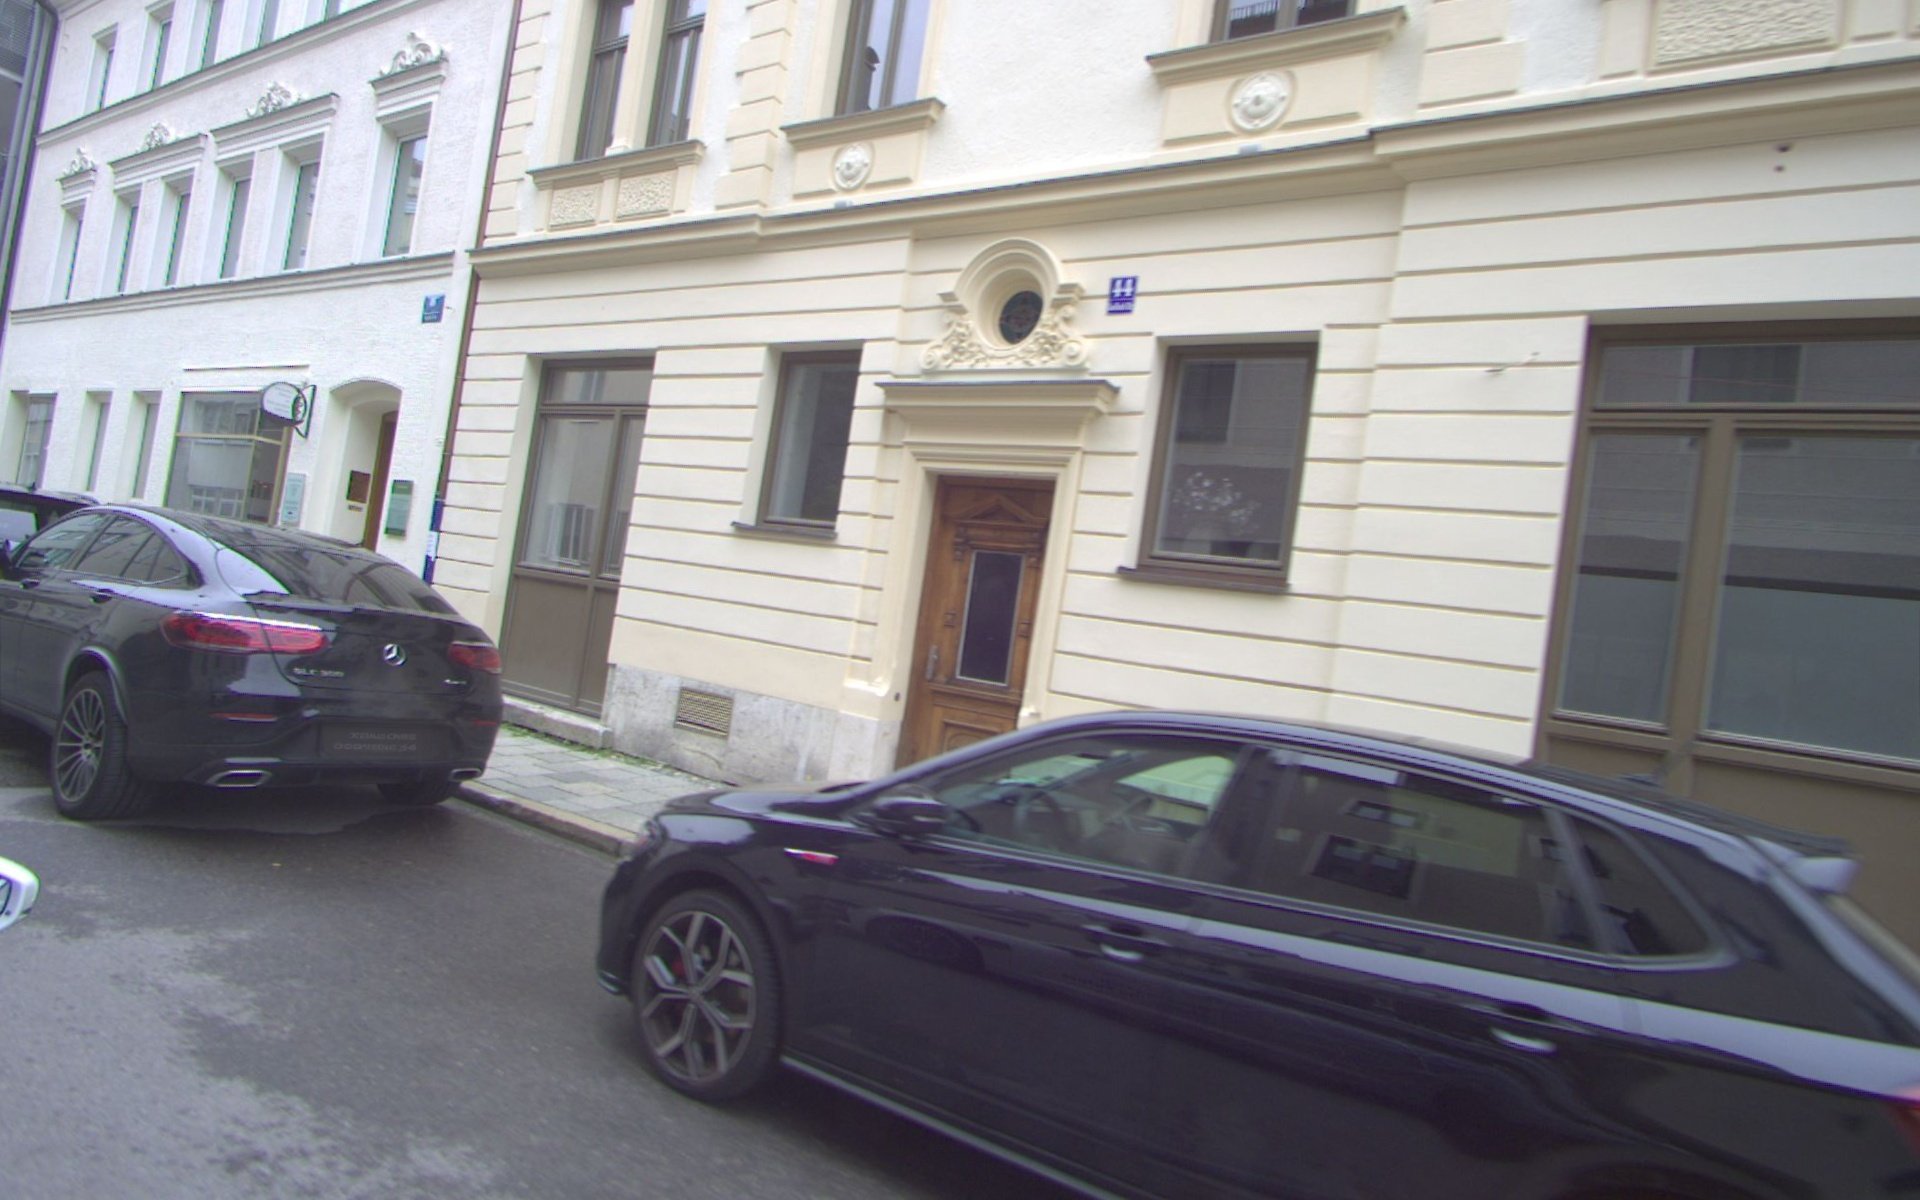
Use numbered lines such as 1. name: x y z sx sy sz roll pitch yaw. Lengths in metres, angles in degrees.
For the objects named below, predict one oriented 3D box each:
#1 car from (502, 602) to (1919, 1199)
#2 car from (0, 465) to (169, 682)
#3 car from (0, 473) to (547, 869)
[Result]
1. car: 0.608 1.016 3.184 3.998 1.408 1.680 7 -2 32
2. car: -9.429 -0.437 9.368 4.438 1.680 1.680 7 -2 32
3. car: -4.882 0.213 6.317 4.607 1.625 1.706 7 -2 32
